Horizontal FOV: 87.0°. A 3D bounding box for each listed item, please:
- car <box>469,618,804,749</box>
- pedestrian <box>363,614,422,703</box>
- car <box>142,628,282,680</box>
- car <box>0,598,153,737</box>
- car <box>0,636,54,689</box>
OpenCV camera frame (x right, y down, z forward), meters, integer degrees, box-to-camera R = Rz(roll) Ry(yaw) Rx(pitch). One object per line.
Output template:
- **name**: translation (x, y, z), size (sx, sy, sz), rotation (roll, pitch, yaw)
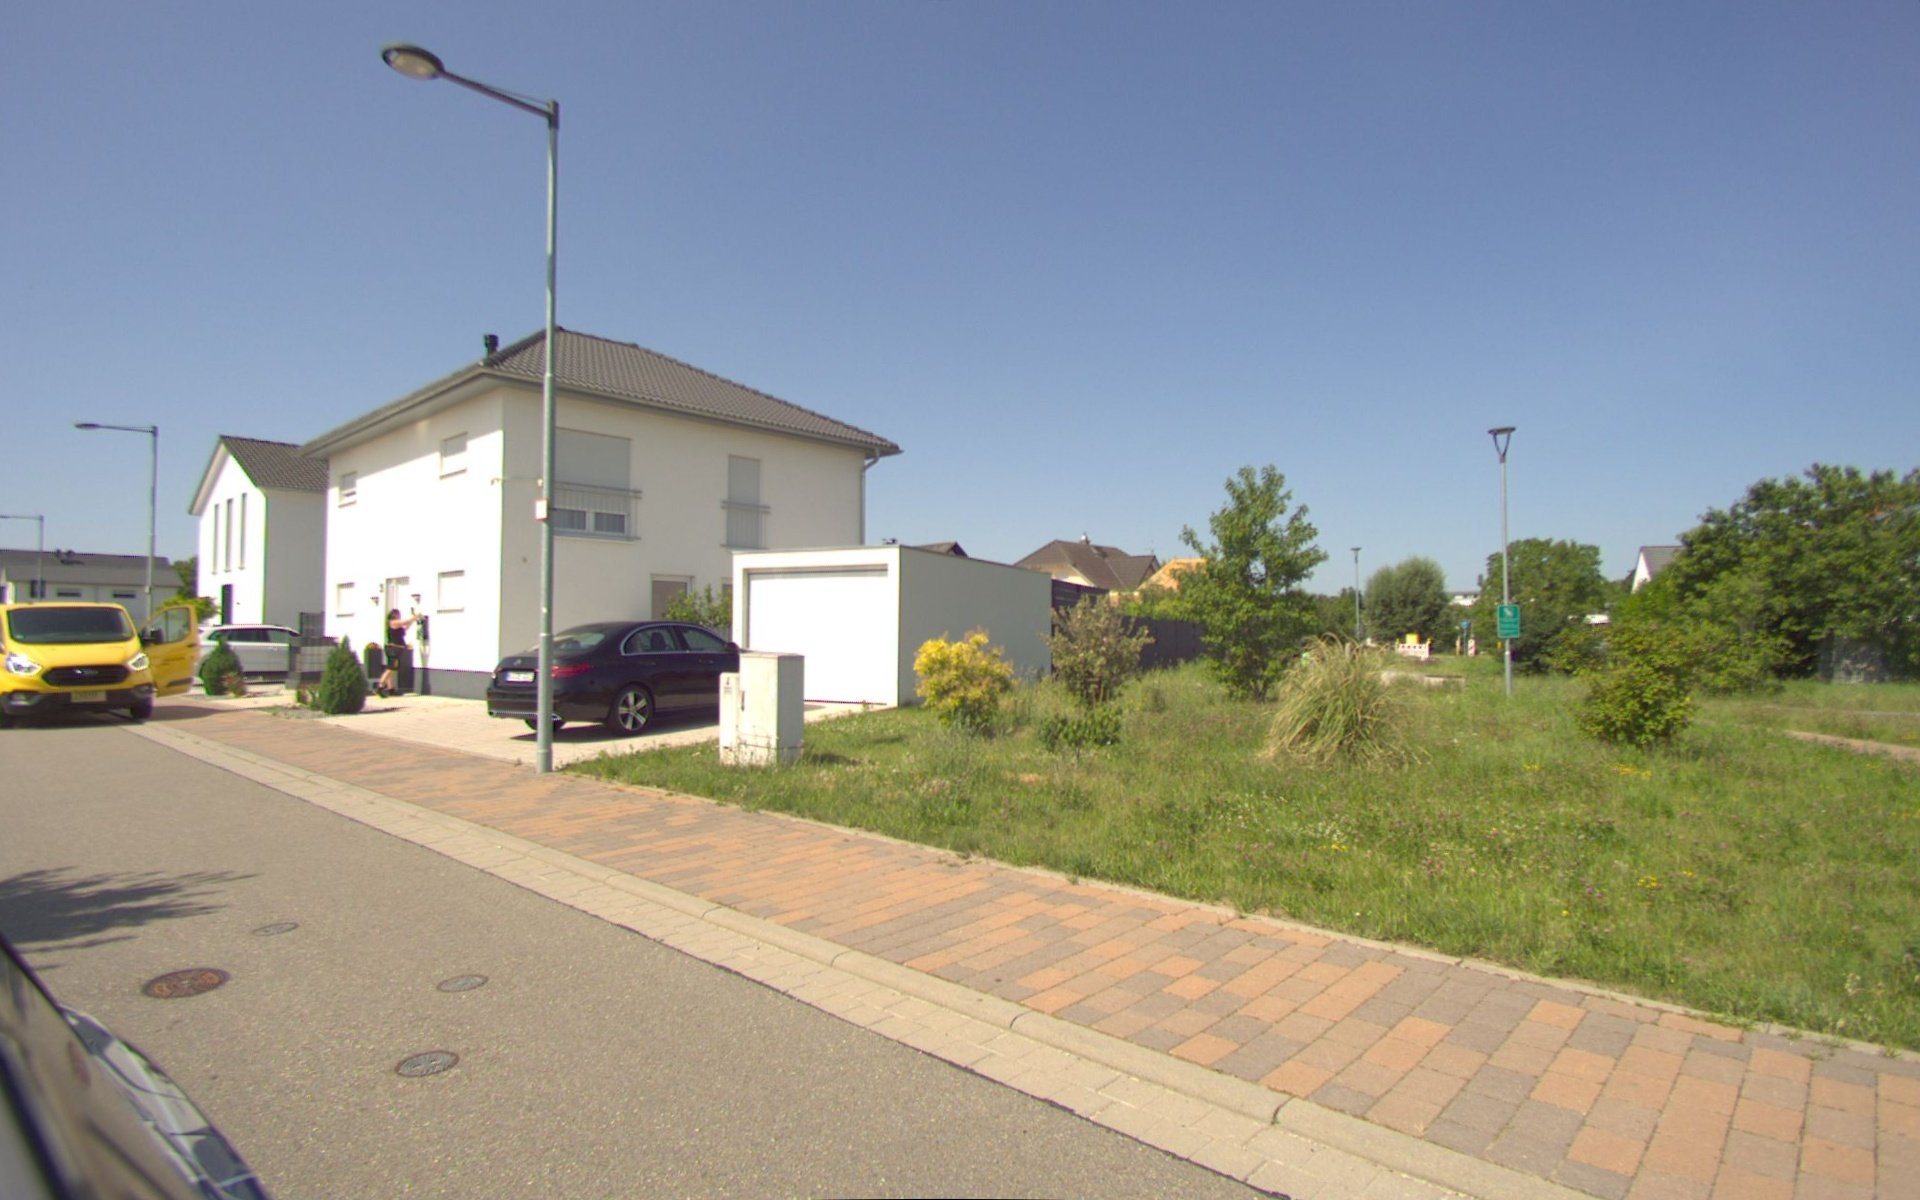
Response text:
- **car**: translation (-4.177, 1.001, 13.833), size (1.742, 1.463, 4.363), rotation (-1, -1, 29)
- **pedestrian**: translation (-11.319, 1.142, 20.189), size (0.918, 1.698, 0.538), rotation (-1, -1, -38)
- **car**: translation (-28.162, 1.990, 38.156), size (2.000, 1.866, 3.942), rotation (-2, -3, 43)
- **car**: translation (-15.431, 1.053, 17.057), size (4.836, 2.029, 1.865), rotation (-2, -2, 39)
- **car**: translation (-29.157, 1.872, 31.054), size (4.445, 1.484, 1.672), rotation (-2, -1, 44)
